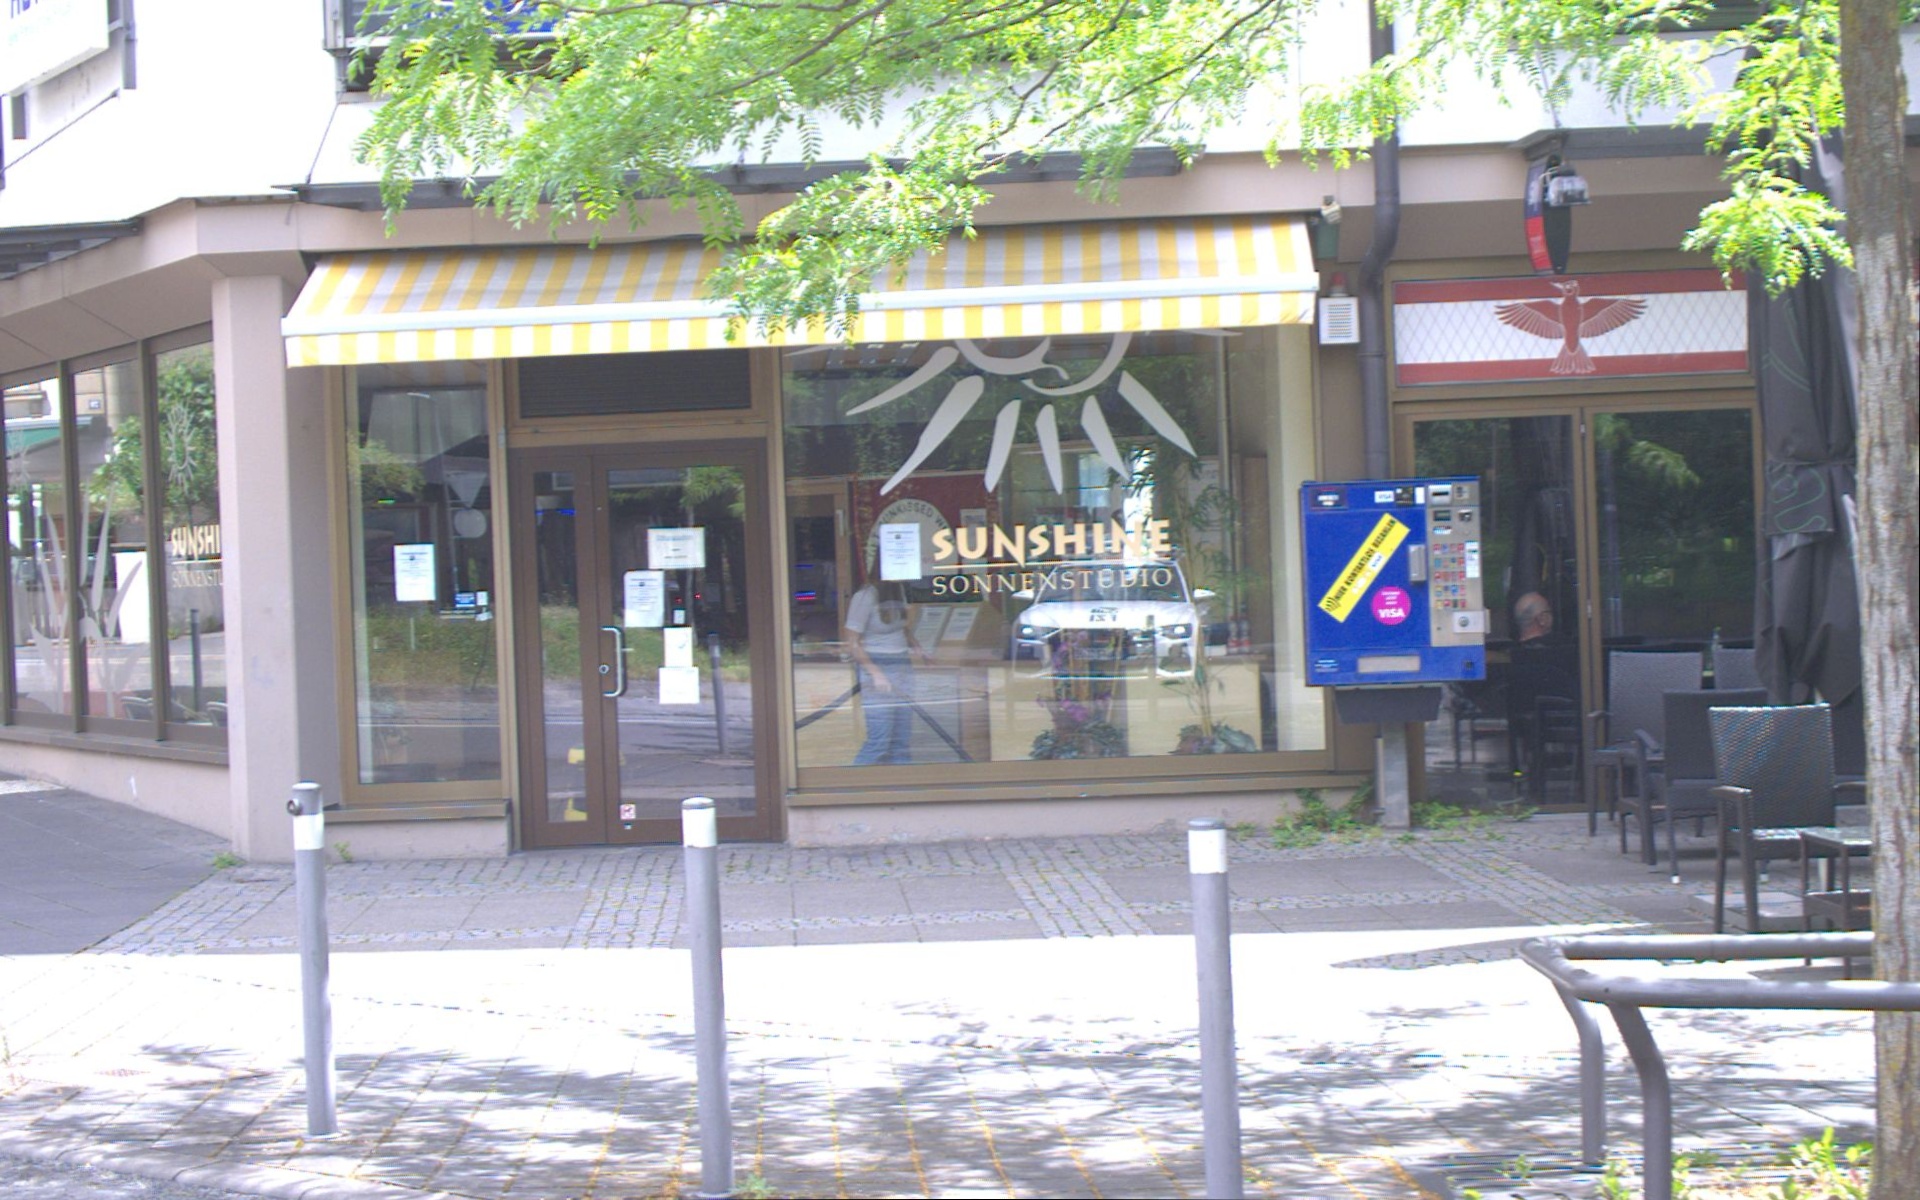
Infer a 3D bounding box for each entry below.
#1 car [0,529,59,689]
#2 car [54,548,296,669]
[{"bbox_3d":[-11.326,0.150,36.484,1.825,1.725,4.232,-2,1,8],"label":"car"},{"bbox_3d":[-10.894,0.081,47.999,1.825,1.514,4.232,-2,1,8],"label":"car"}]
